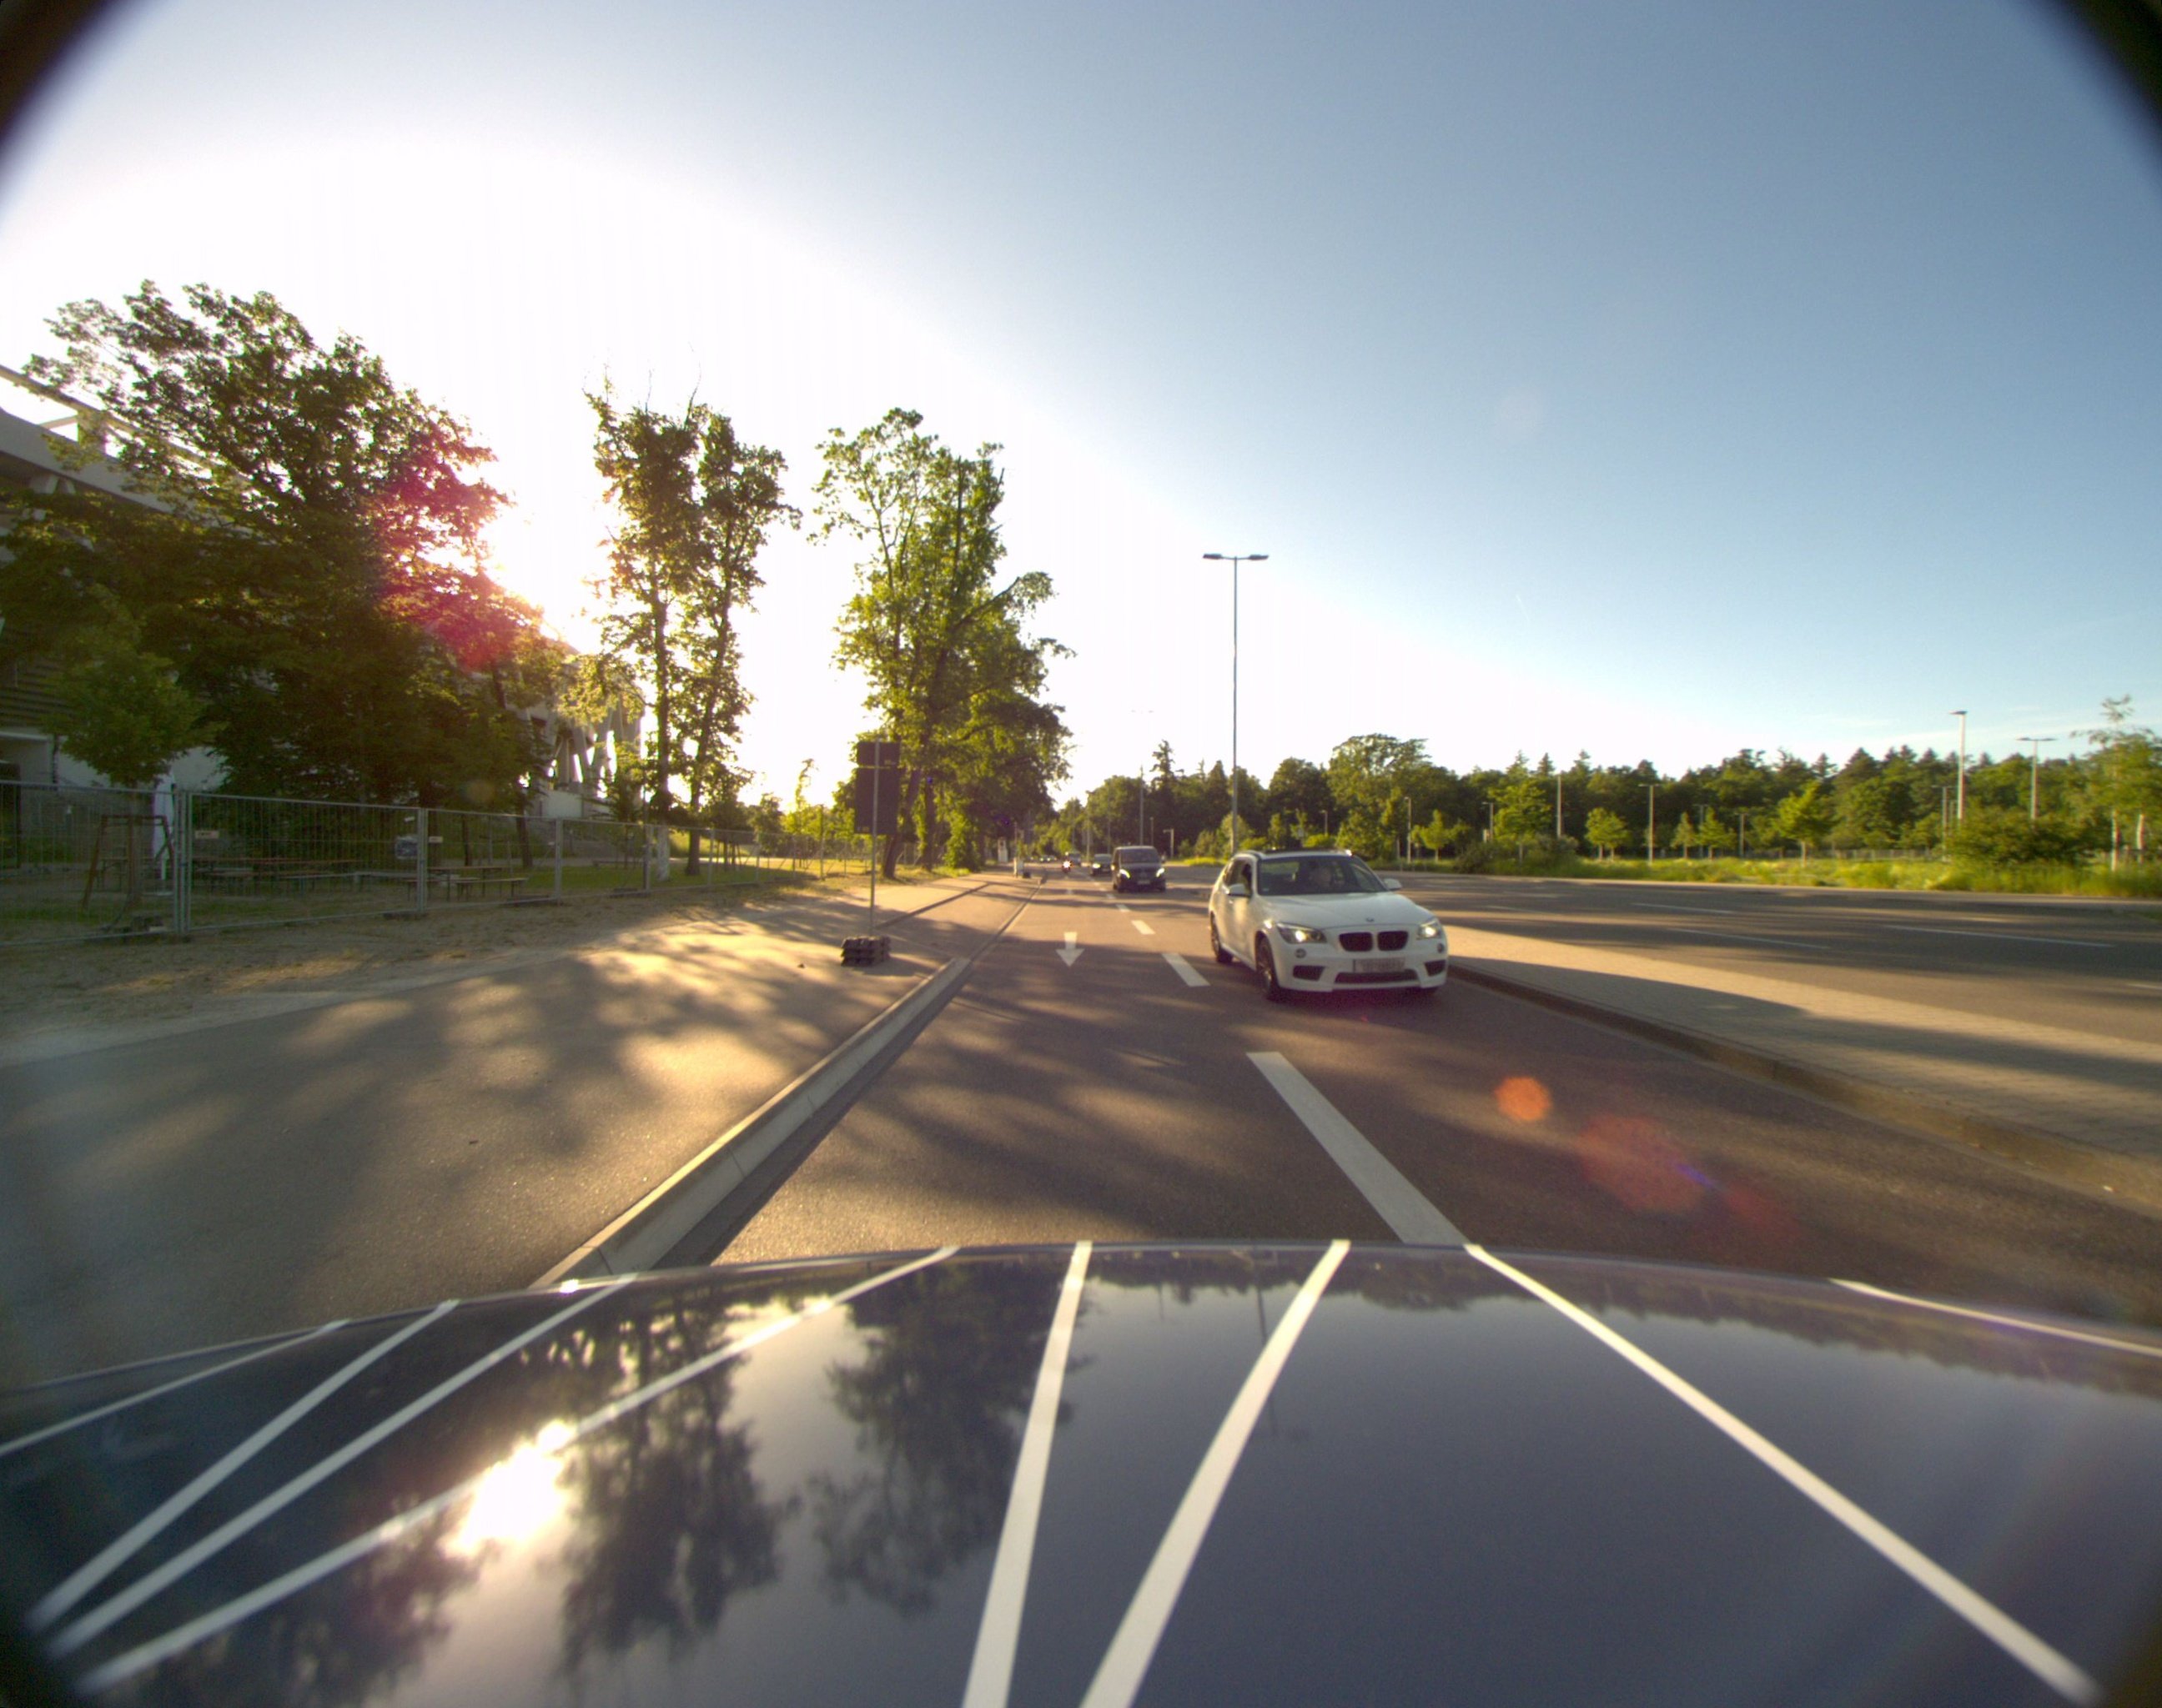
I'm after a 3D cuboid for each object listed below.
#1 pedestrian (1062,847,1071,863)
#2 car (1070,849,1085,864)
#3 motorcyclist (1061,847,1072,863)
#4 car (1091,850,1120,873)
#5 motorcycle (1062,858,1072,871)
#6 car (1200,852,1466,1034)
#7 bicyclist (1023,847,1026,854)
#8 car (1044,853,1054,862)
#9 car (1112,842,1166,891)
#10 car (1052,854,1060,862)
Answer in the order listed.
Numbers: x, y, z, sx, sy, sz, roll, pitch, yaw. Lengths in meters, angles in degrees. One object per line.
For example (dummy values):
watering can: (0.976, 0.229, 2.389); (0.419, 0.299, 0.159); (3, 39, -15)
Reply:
pedestrian: (-1.247, 0.087, 66.150); (0.739, 1.387, 0.500); (-2, 1, 1)
car: (-0.483, 0.364, 102.416); (1.883, 1.951, 5.048); (-2, 0, 0)
motorcyclist: (-1.242, 0.105, 65.626); (0.822, 1.367, 0.476); (-2, 1, 1)
car: (1.733, 0.503, 55.019); (1.883, 1.528, 3.999); (-2, 1, 0)
motorcycle: (-1.214, 0.930, 66.100); (0.717, 1.058, 2.721); (-2, 0, 1)
car: (2.636, 0.800, 9.104); (1.723, 1.571, 4.434); (-2, 0, 1)
bicyclist: (-10.384, -0.665, 140.463); (0.451, 1.412, 0.575); (0, 1, 0)
car: (-6.378, 0.705, 152.340); (1.883, 1.629, 5.048); (-2, 0, 0)
car: (2.349, 0.552, 32.161); (1.912, 1.844, 4.874); (-2, -1, 1)
car: (-5.943, 1.015, 180.892); (1.675, 1.827, 3.982); (-2, 1, 1)
